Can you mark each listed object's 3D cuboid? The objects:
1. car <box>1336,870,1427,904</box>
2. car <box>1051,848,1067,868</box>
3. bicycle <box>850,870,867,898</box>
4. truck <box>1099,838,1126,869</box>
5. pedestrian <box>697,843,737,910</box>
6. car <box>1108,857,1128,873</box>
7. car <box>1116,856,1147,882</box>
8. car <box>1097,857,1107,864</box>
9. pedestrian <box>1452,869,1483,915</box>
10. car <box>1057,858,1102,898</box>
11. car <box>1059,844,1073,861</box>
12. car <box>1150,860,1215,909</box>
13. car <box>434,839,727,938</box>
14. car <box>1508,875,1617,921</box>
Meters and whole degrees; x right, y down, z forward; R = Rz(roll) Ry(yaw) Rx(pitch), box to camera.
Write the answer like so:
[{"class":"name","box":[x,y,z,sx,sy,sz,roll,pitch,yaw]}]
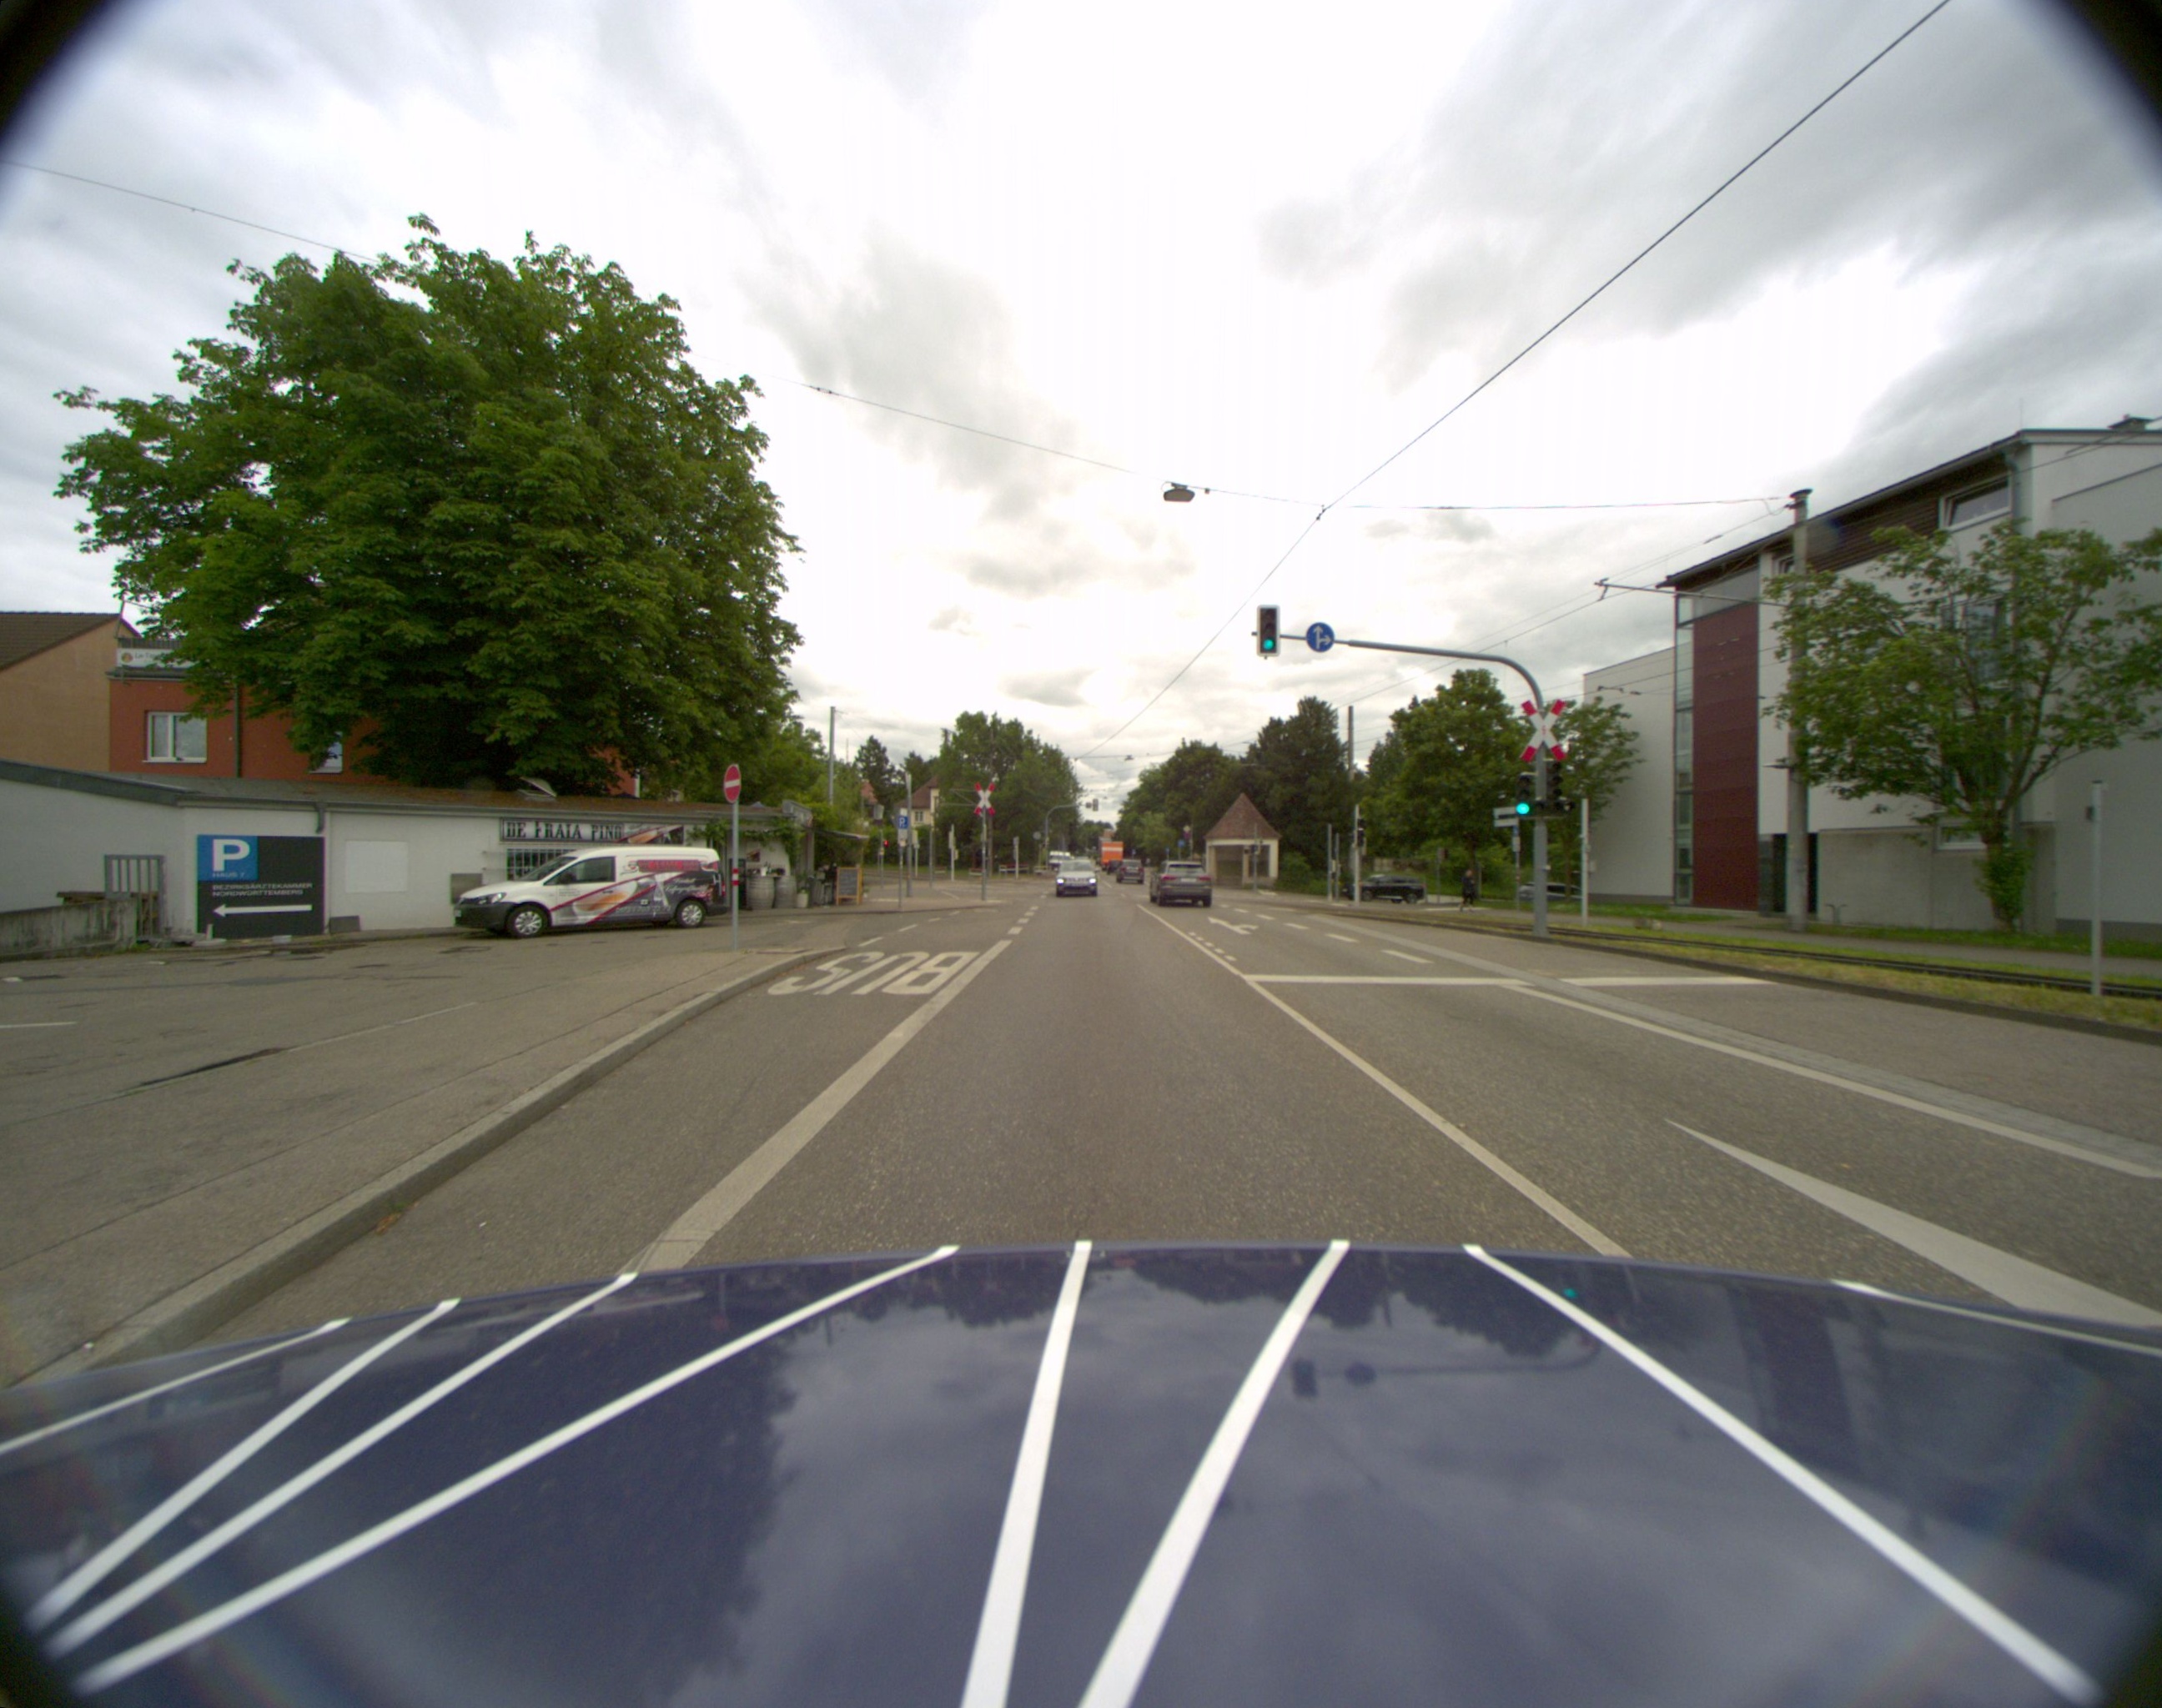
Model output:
[{"class":"car","box":[17.593,1.920,44.599,4.488,1.660,1.964,4,0,-7]},{"class":"car","box":[-3.031,0.538,103.290,2.095,2.589,6.680,1,0,-2]},{"class":"bicycle","box":[-9.326,1.274,31.897,0.550,1.131,1.877,0,-3,-12]},{"class":"truck","box":[3.901,-0.040,96.718,2.776,3.697,8.467,3,0,-1]},{"class":"pedestrian","box":[-10.203,0.625,21.312,0.685,1.846,0.624,1,-2,13]},{"class":"car","box":[3.697,1.122,76.434,1.679,1.497,3.733,2,0,-1]},{"class":"car","box":[3.570,1.047,54.387,1.835,1.660,4.488,-3,0,0]},{"class":"car","box":[4.567,1.383,165.428,1.944,1.522,4.526,2,0,1]},{"class":"pedestrian","box":[14.212,1.399,27.966,0.677,1.634,0.819,2,-2,-5]},{"class":"car","box":[-0.146,1.051,35.036,1.835,1.610,4.487,-2,0,-3]},{"class":"car","box":[-2.332,-0.295,121.537,2.046,2.588,5.966,1,0,0]},{"class":"car","box":[3.577,1.035,27.403,1.744,1.550,4.183,1,0,0]},{"class":"car","box":[-10.142,0.637,15.767,1.846,1.738,4.706,0,-1,38]},{"class":"car","box":[25.481,2.308,40.310,4.469,2.002,1.999,4,0,-6]}]
